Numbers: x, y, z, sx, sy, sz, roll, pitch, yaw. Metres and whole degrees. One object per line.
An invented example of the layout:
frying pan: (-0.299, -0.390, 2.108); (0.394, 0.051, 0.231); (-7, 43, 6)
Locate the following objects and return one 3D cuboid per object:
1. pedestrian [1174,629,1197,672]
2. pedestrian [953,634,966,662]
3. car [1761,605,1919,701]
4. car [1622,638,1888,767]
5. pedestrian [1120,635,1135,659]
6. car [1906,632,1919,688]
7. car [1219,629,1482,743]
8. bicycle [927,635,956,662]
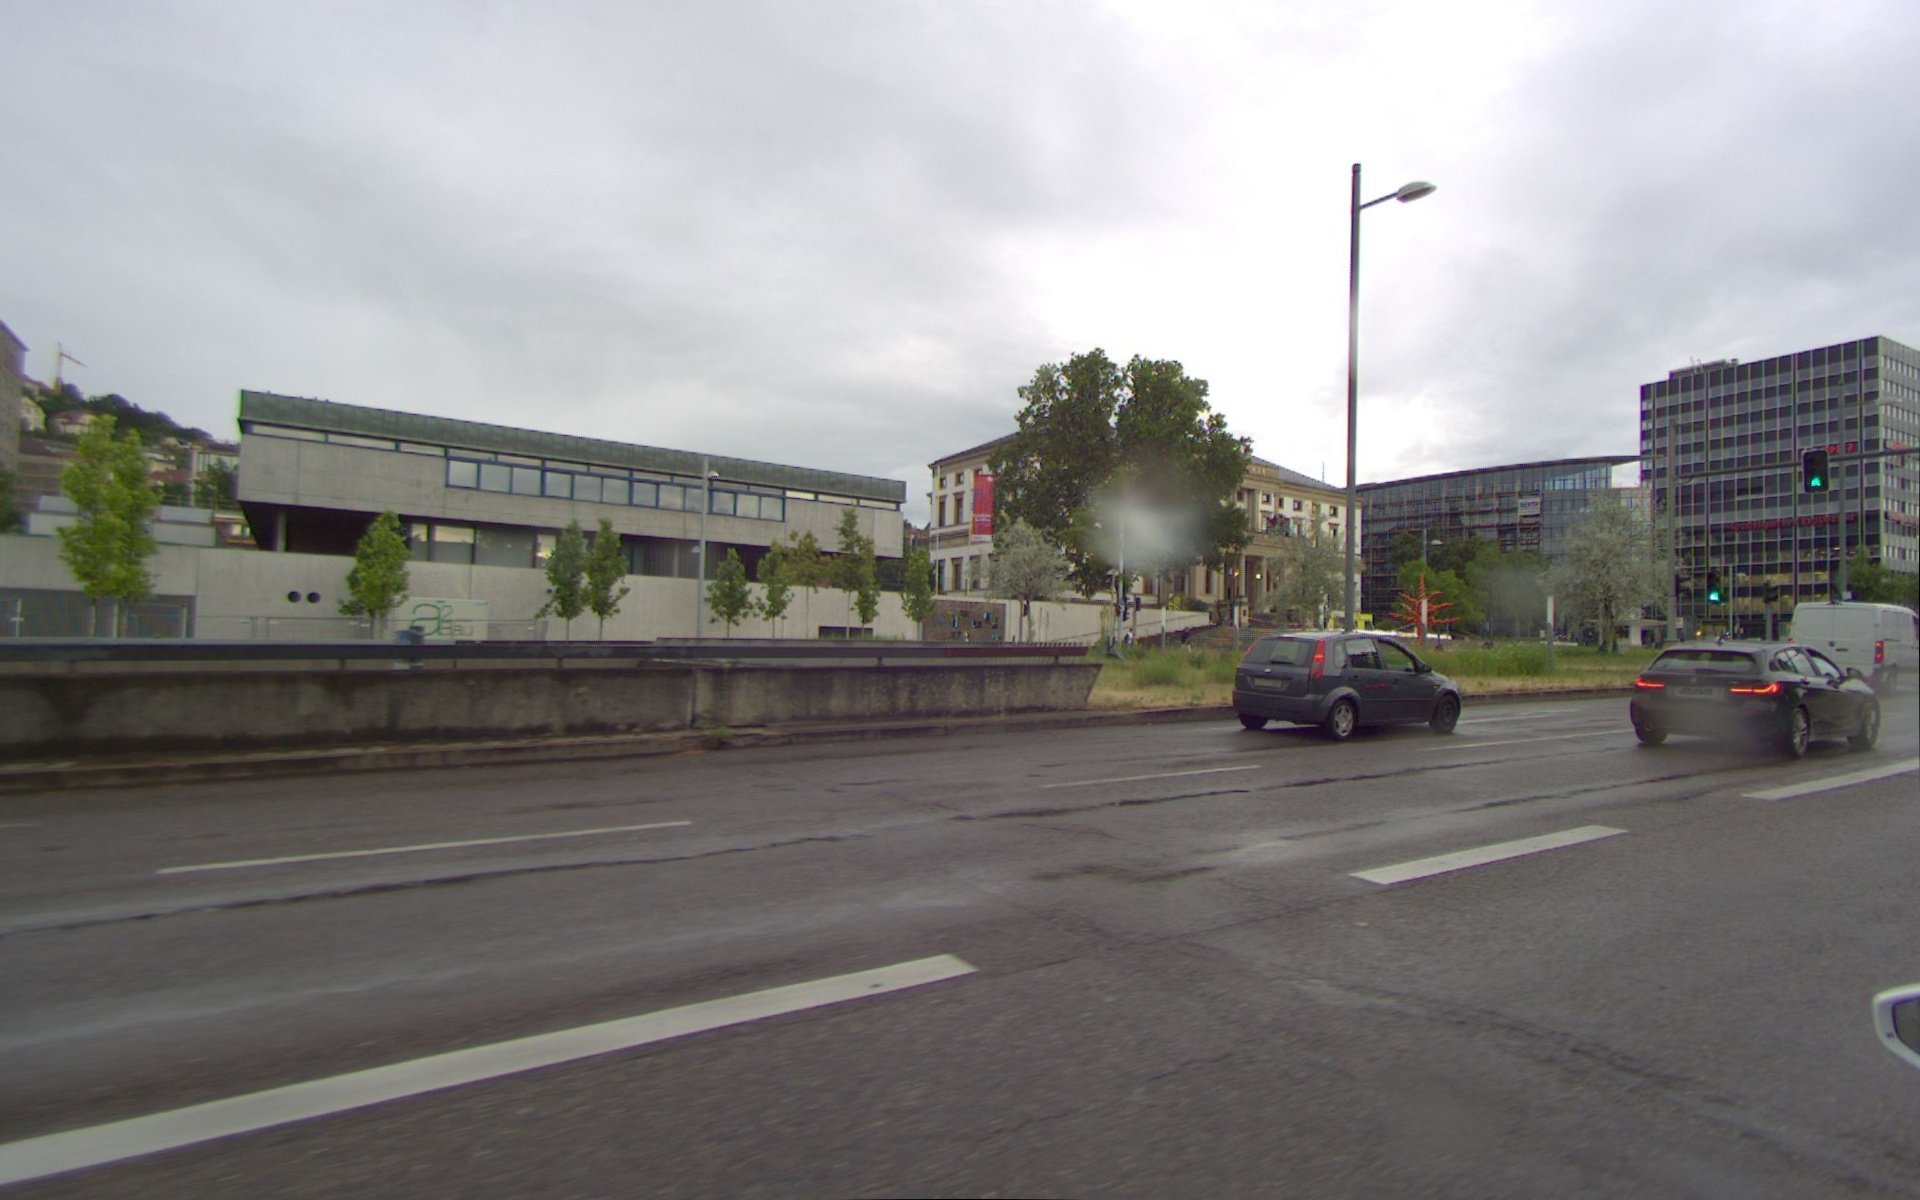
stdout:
pedestrian: (11.418, 2.536, 50.858); (0.717, 2.120, 0.764); (-3, 2, -28)
pedestrian: (-0.035, 2.529, 52.781); (0.567, 1.401, 0.467); (3, -2, -13)
car: (24.063, 1.451, 27.180); (4.953, 2.344, 2.279); (4, -2, -33)
car: (11.038, 1.301, 13.864); (4.179, 1.491, 1.742); (2, -1, -35)
pedestrian: (10.012, 2.812, 59.995); (0.626, 1.441, 0.489); (4, -2, -32)
car: (31.416, 1.965, 31.875); (3.111, 1.728, 1.454); (4, -2, -35)
car: (5.703, 1.227, 14.537); (3.859, 1.434, 1.534); (4, -2, -32)
bicycle: (-0.962, 2.461, 50.988); (1.460, 1.324, 0.555); (1, -2, 43)
